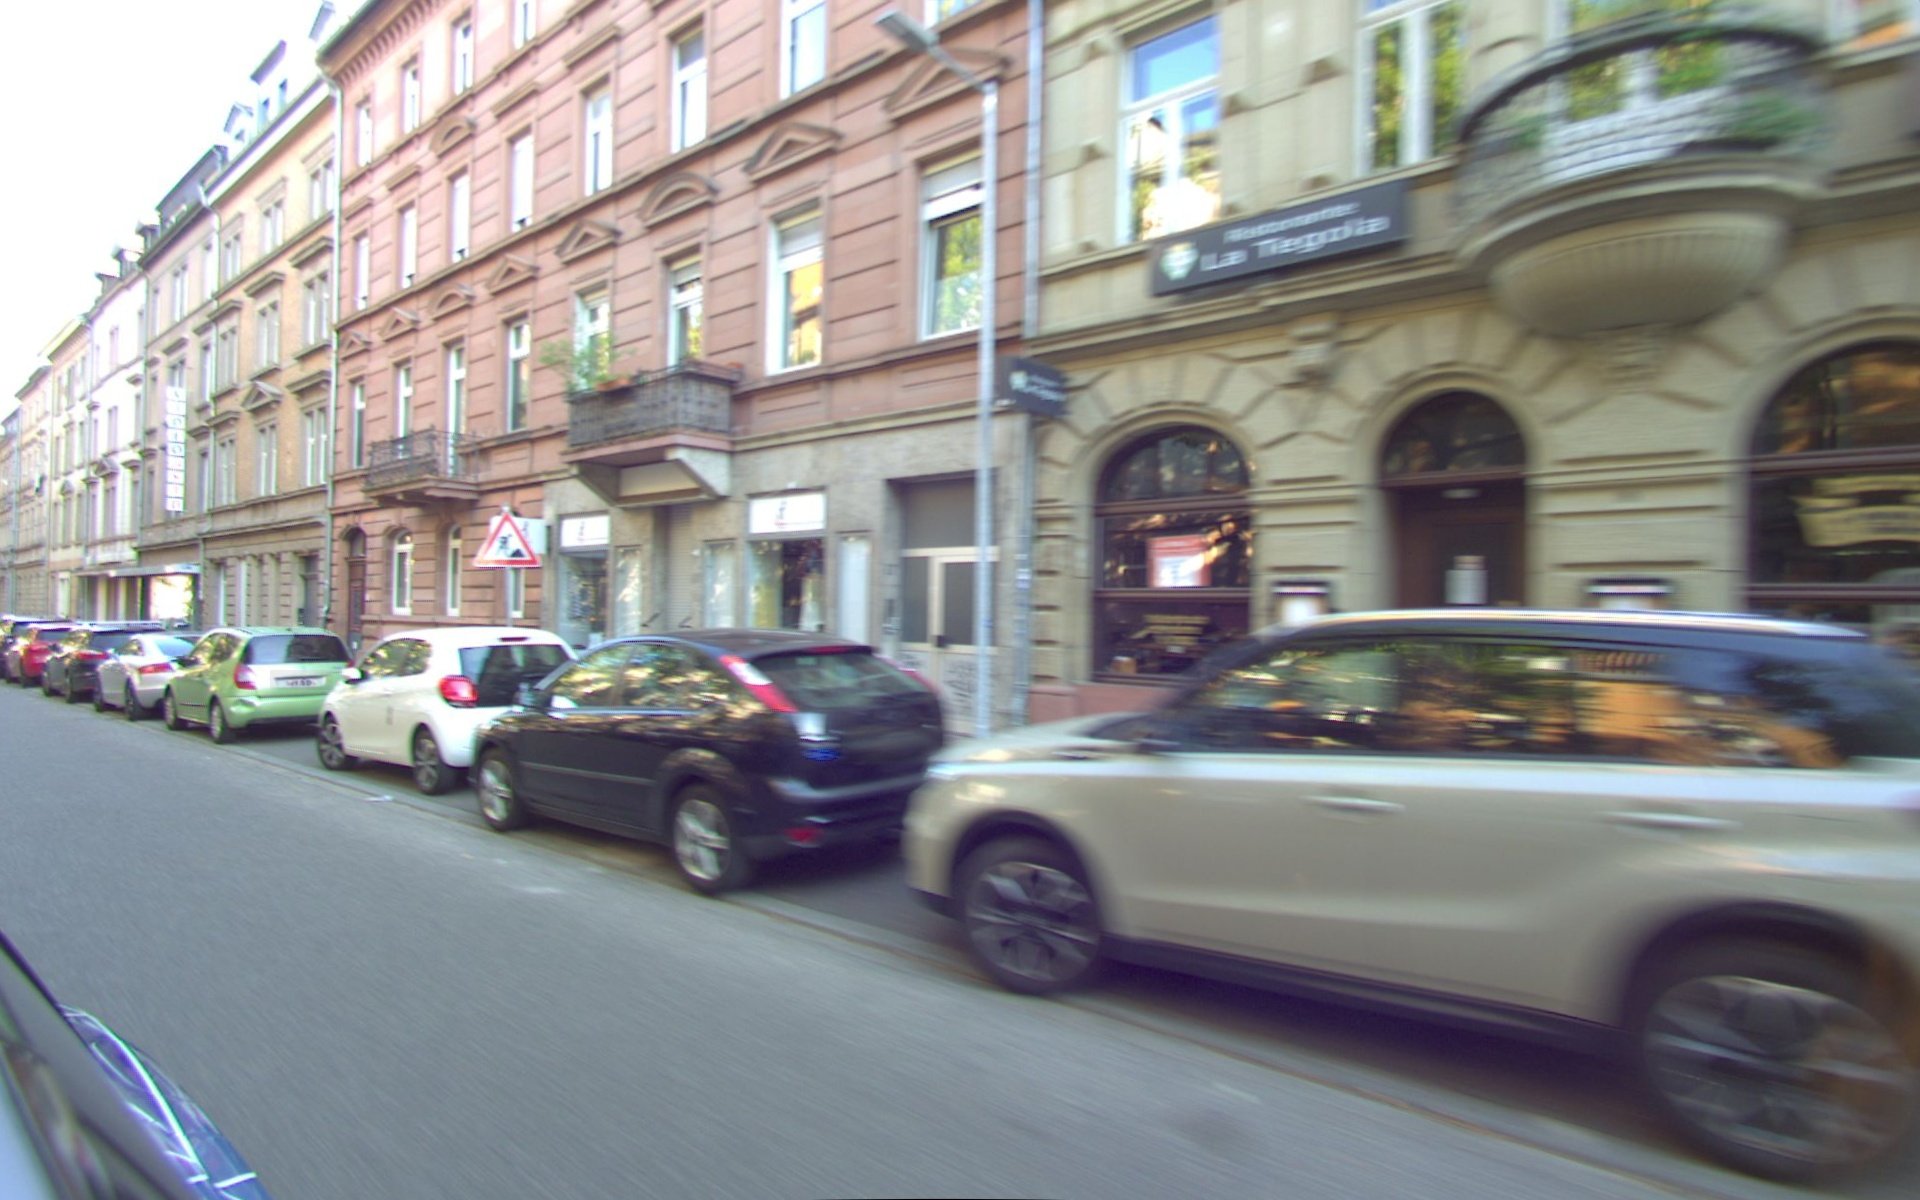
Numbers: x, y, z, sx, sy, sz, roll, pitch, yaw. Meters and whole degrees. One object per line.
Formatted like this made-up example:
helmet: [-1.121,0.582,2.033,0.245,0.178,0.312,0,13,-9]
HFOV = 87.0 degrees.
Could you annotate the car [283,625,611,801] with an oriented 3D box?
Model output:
car: [-5.399,1.006,10.441,3.997,1.484,1.566,-1,-3,40]

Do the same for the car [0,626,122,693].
car: [-21.926,1.375,24.505,4.311,1.436,1.802,-1,-1,40]

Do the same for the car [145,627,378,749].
car: [-9.739,1.110,14.000,3.957,1.450,1.687,-1,-3,41]

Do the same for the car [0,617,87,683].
car: [-25.098,1.298,27.237,4.311,1.612,1.802,-1,-1,40]

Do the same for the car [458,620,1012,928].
car: [-1.735,0.913,6.983,3.997,1.484,1.631,-1,0,40]

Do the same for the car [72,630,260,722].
car: [-13.289,1.180,16.854,4.098,1.333,1.687,-1,-3,41]

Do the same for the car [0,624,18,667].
car: [-35.021,1.602,35.972,4.084,1.484,1.739,-1,-2,40]

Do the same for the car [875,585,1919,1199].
car: [1.733,0.784,4.020,4.041,1.586,1.633,-1,0,36]

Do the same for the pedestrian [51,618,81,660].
pedestrian: [-35.130,1.517,39.766,1.017,1.644,0.688,-1,-2,39]

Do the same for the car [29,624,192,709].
car: [-17.006,1.238,20.193,4.420,1.488,1.802,-1,-1,41]

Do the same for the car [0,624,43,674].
car: [-30.257,1.489,31.646,4.487,1.484,1.843,-1,-3,42]
